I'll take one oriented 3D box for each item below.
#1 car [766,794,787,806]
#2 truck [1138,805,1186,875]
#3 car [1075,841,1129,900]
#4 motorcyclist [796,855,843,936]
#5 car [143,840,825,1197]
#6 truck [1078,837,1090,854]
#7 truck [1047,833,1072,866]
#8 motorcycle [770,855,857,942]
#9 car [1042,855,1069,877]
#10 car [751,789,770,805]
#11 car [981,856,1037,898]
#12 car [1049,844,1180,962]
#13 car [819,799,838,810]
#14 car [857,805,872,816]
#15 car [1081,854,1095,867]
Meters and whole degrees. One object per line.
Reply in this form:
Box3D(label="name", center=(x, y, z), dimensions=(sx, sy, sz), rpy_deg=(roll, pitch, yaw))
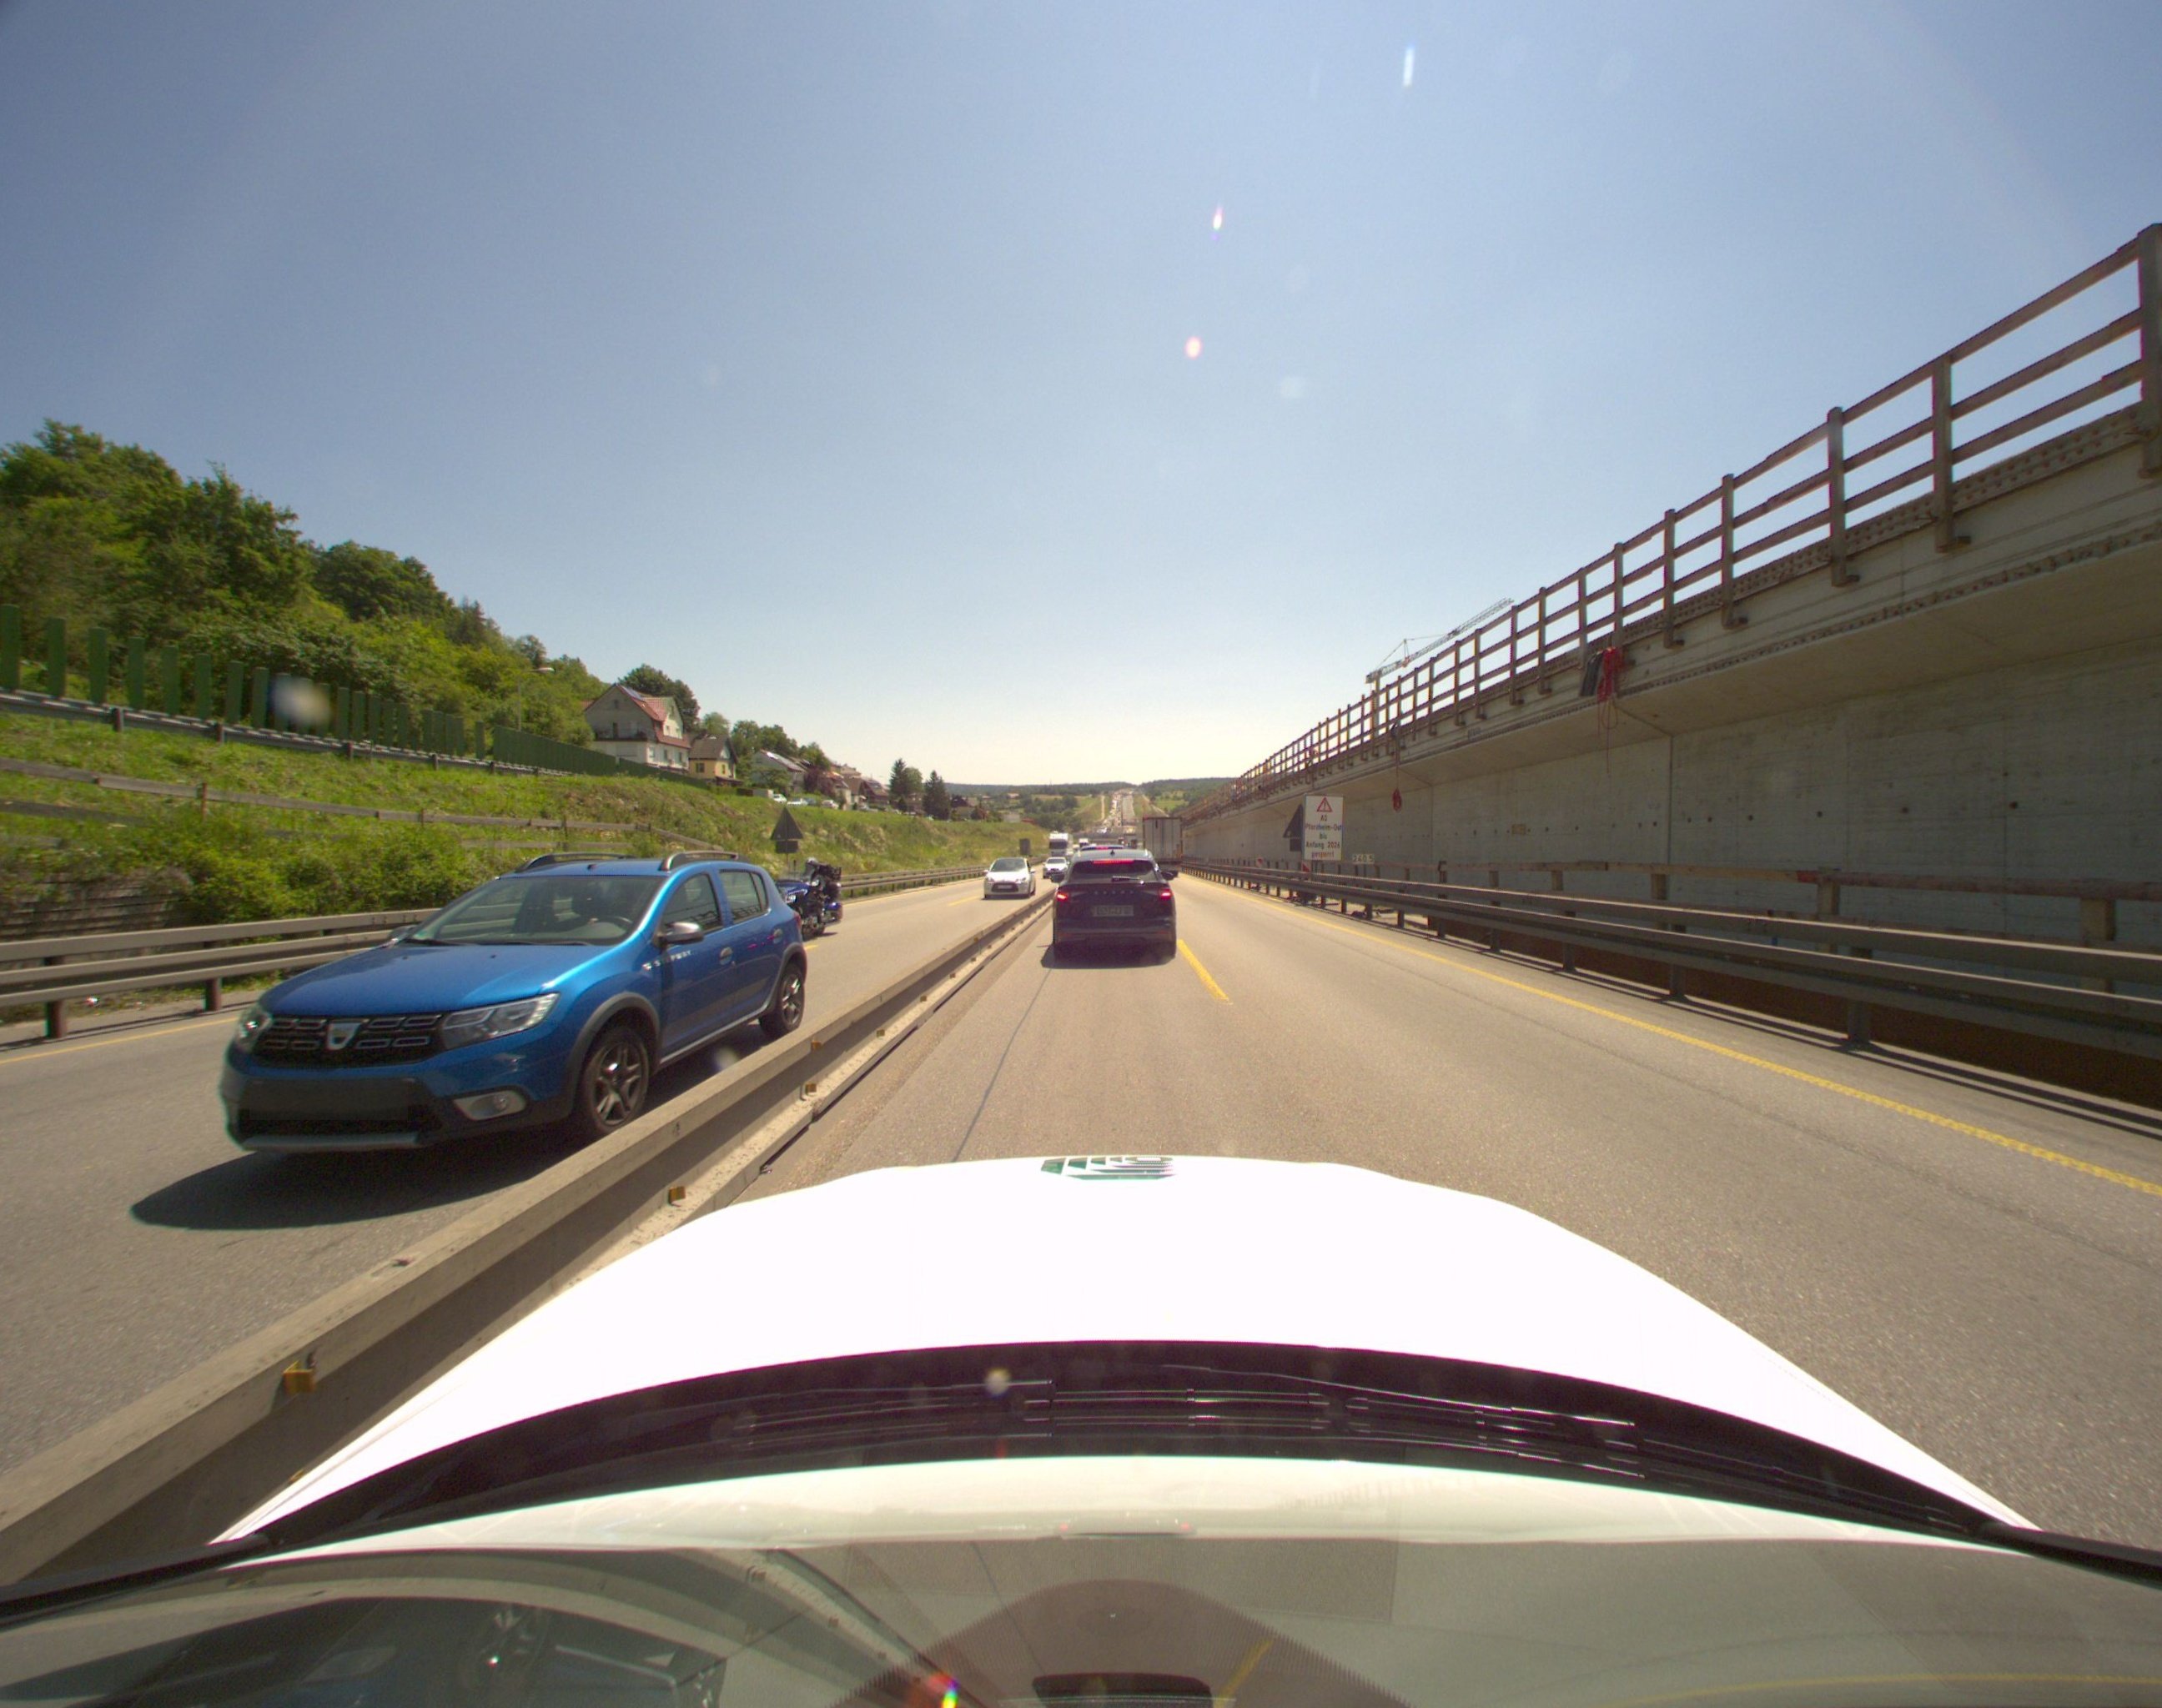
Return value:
Box3D(label="car", center=(-33.983, -6.003, 90.996), dimensions=(1.277, 1.039, 3.270), rpy_deg=(-1, 0, -4))
Box3D(label="truck", center=(5.733, -0.825, 59.254), dimensions=(2.834, 4.615, 11.817), rpy_deg=(0, -1, 2))
Box3D(label="car", center=(0.695, 0.549, 28.801), dimensions=(1.744, 1.895, 3.754), rpy_deg=(1, 0, 0))
Box3D(label="motorcyclist", center=(-5.249, 0.818, 16.385), dimensions=(0.663, 1.585, 0.736), rpy_deg=(-1, -1, 1))
Box3D(label="car", center=(-3.357, 0.757, 5.674), dimensions=(1.757, 1.610, 3.894), rpy_deg=(-1, 0, 2))
Box3D(label="truck", center=(0.804, -2.145, 211.454), dimensions=(2.742, 4.227, 8.105), rpy_deg=(0, 0, 3))
Box3D(label="truck", center=(-2.900, -0.531, 109.282), dimensions=(3.172, 4.238, 6.478), rpy_deg=(-1, -1, -2))
Box3D(label="motorcycle", center=(-5.282, 0.821, 16.287), dimensions=(0.787, 1.551, 2.622), rpy_deg=(0, 1, 2))
Box3D(label="car", center=(-1.739, 0.794, 56.664), dimensions=(1.685, 1.486, 3.750), rpy_deg=(-1, 0, 0))
Box3D(label="car", center=(-33.915, -5.983, 86.230), dimensions=(1.734, 1.398, 3.775), rpy_deg=(1, 0, -21))
Box3D(label="car", center=(-2.682, 0.829, 31.153), dimensions=(1.760, 1.486, 3.865), rpy_deg=(-1, 0, 0))
Box3D(label="car", center=(0.488, 0.686, 13.092), dimensions=(1.776, 1.597, 3.755), rpy_deg=(-1, 0, 1))
Box3D(label="car", center=(-36.499, -7.162, 117.912), dimensions=(1.993, 1.320, 3.988), rpy_deg=(3, -1, -9))
Box3D(label="car", center=(-36.616, -7.339, 137.694), dimensions=(1.924, 1.728, 3.988), rpy_deg=(-1, 0, -8))
Box3D(label="car", center=(1.021, 0.907, 116.390), dimensions=(1.769, 1.820, 4.435), rpy_deg=(-1, 0, 2))
